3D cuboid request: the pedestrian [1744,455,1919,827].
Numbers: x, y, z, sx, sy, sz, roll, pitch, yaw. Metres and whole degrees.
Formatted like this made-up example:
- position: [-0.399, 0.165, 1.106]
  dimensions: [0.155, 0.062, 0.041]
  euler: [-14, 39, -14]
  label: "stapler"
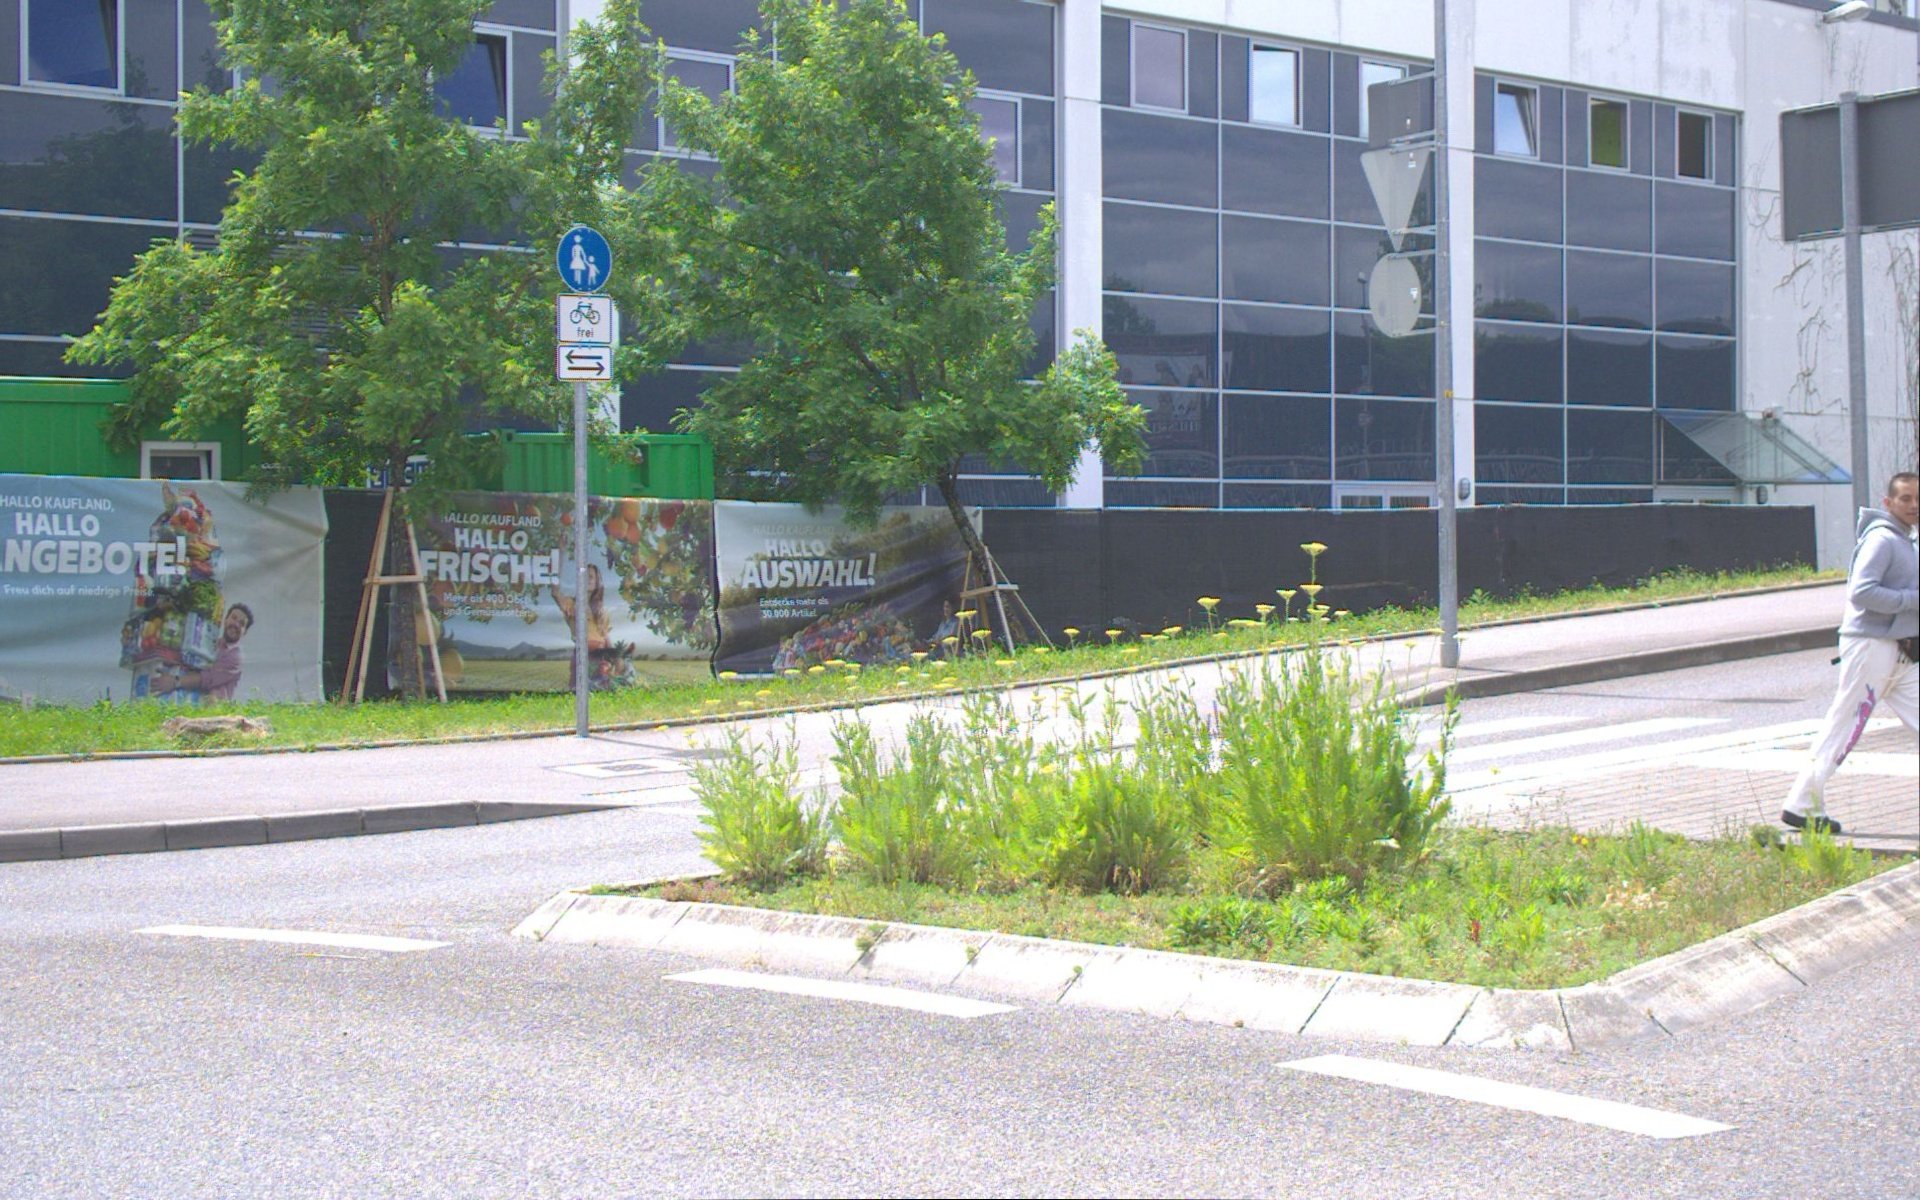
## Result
- position: [3.931, 0.170, 14.721]
  dimensions: [1.035, 1.536, 0.894]
  euler: [1, 0, 17]
  label: "pedestrian"
